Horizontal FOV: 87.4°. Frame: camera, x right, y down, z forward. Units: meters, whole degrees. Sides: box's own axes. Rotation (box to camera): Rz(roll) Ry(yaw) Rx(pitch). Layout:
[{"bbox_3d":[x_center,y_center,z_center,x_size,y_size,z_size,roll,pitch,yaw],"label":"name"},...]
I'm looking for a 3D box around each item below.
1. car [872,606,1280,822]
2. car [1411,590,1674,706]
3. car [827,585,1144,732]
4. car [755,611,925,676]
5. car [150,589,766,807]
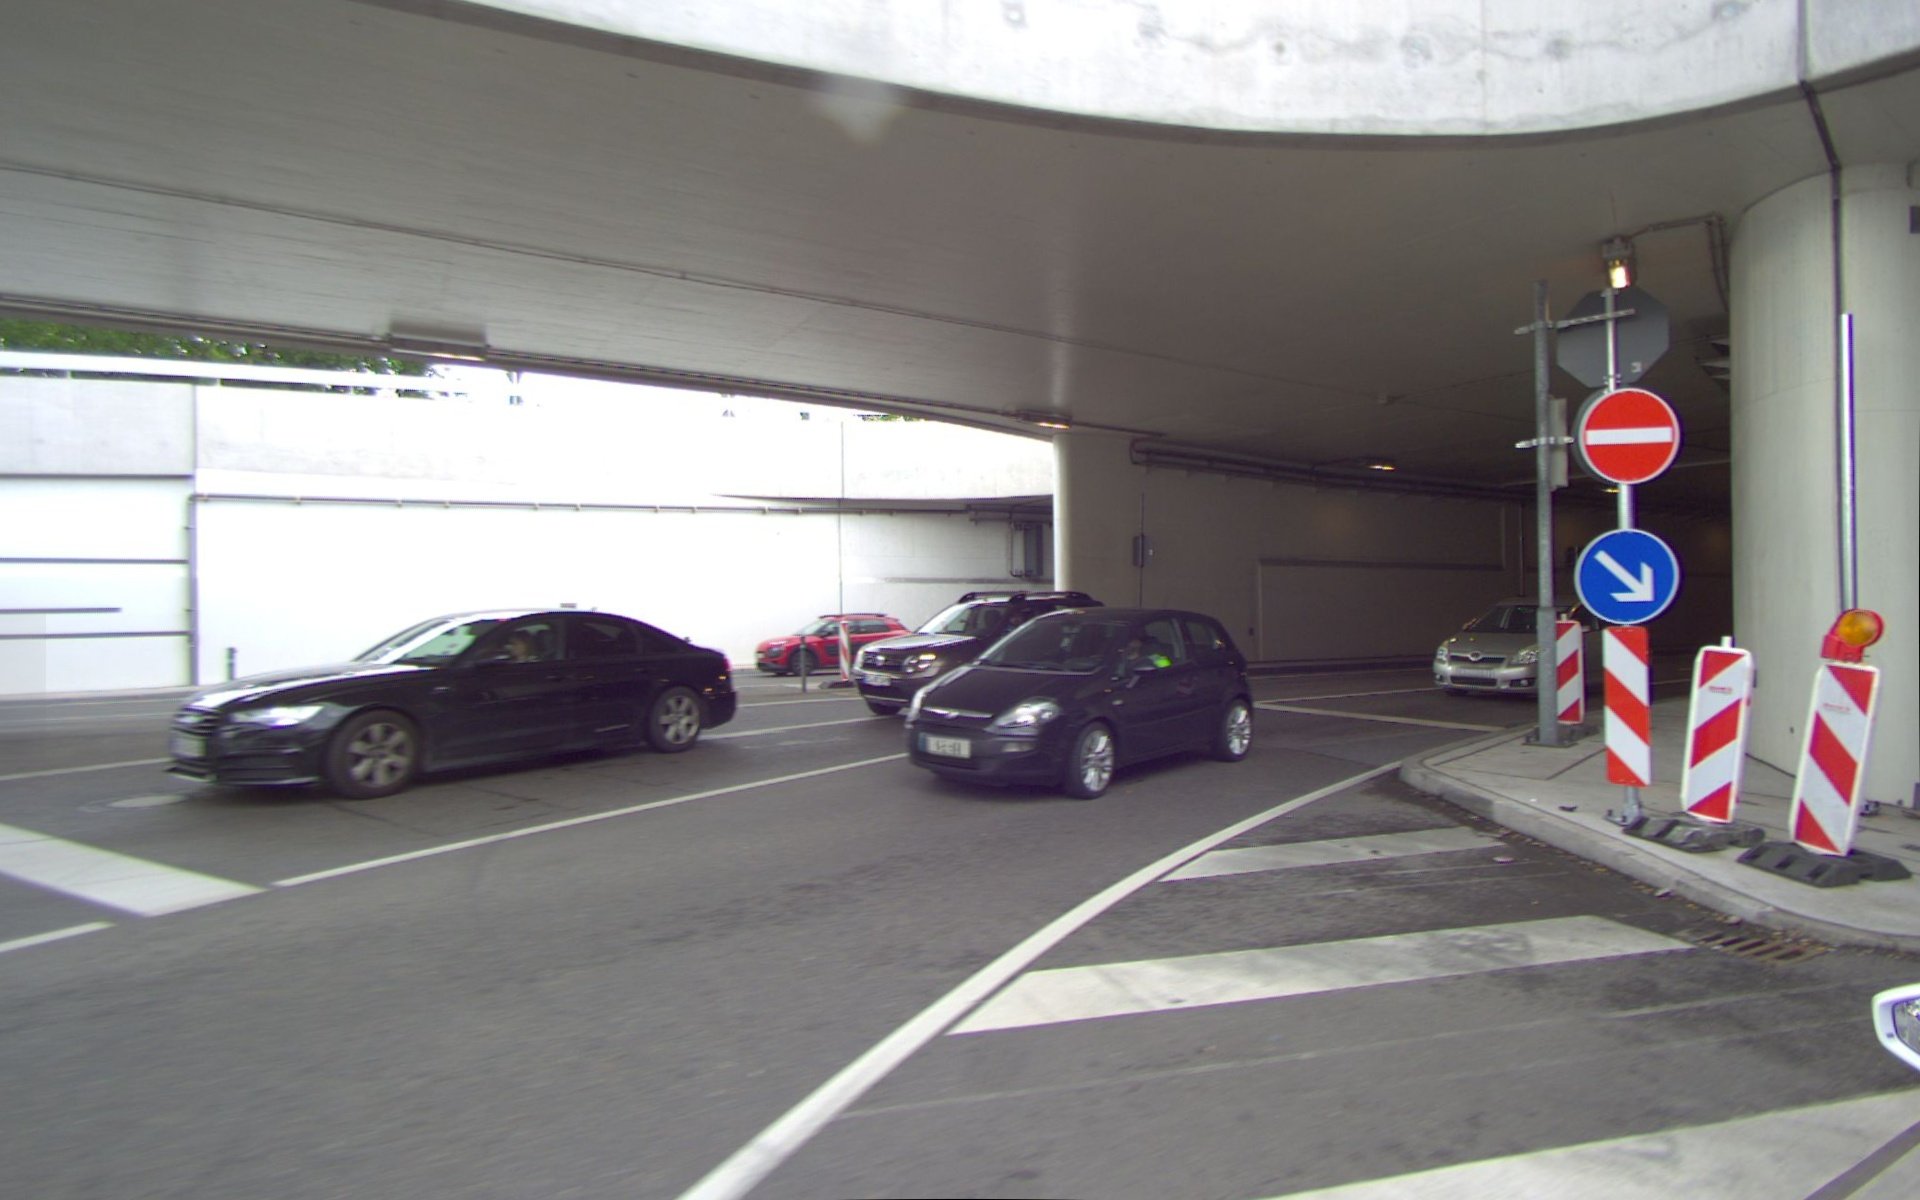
[{"bbox_3d":[1.247,0.800,9.048,1.645,1.460,4.092,1,1,41],"label":"car"},{"bbox_3d":[9.645,0.685,16.497,4.735,1.626,1.798,-1,0,-33],"label":"car"},{"bbox_3d":[0.475,0.656,13.746,4.295,1.621,1.777,-2,2,-42],"label":"car"},{"bbox_3d":[-2.995,1.058,25.326,3.952,1.534,1.639,1,-1,-30],"label":"car"},{"bbox_3d":[-4.171,0.695,9.262,1.825,1.462,4.830,0,-1,34],"label":"car"}]
